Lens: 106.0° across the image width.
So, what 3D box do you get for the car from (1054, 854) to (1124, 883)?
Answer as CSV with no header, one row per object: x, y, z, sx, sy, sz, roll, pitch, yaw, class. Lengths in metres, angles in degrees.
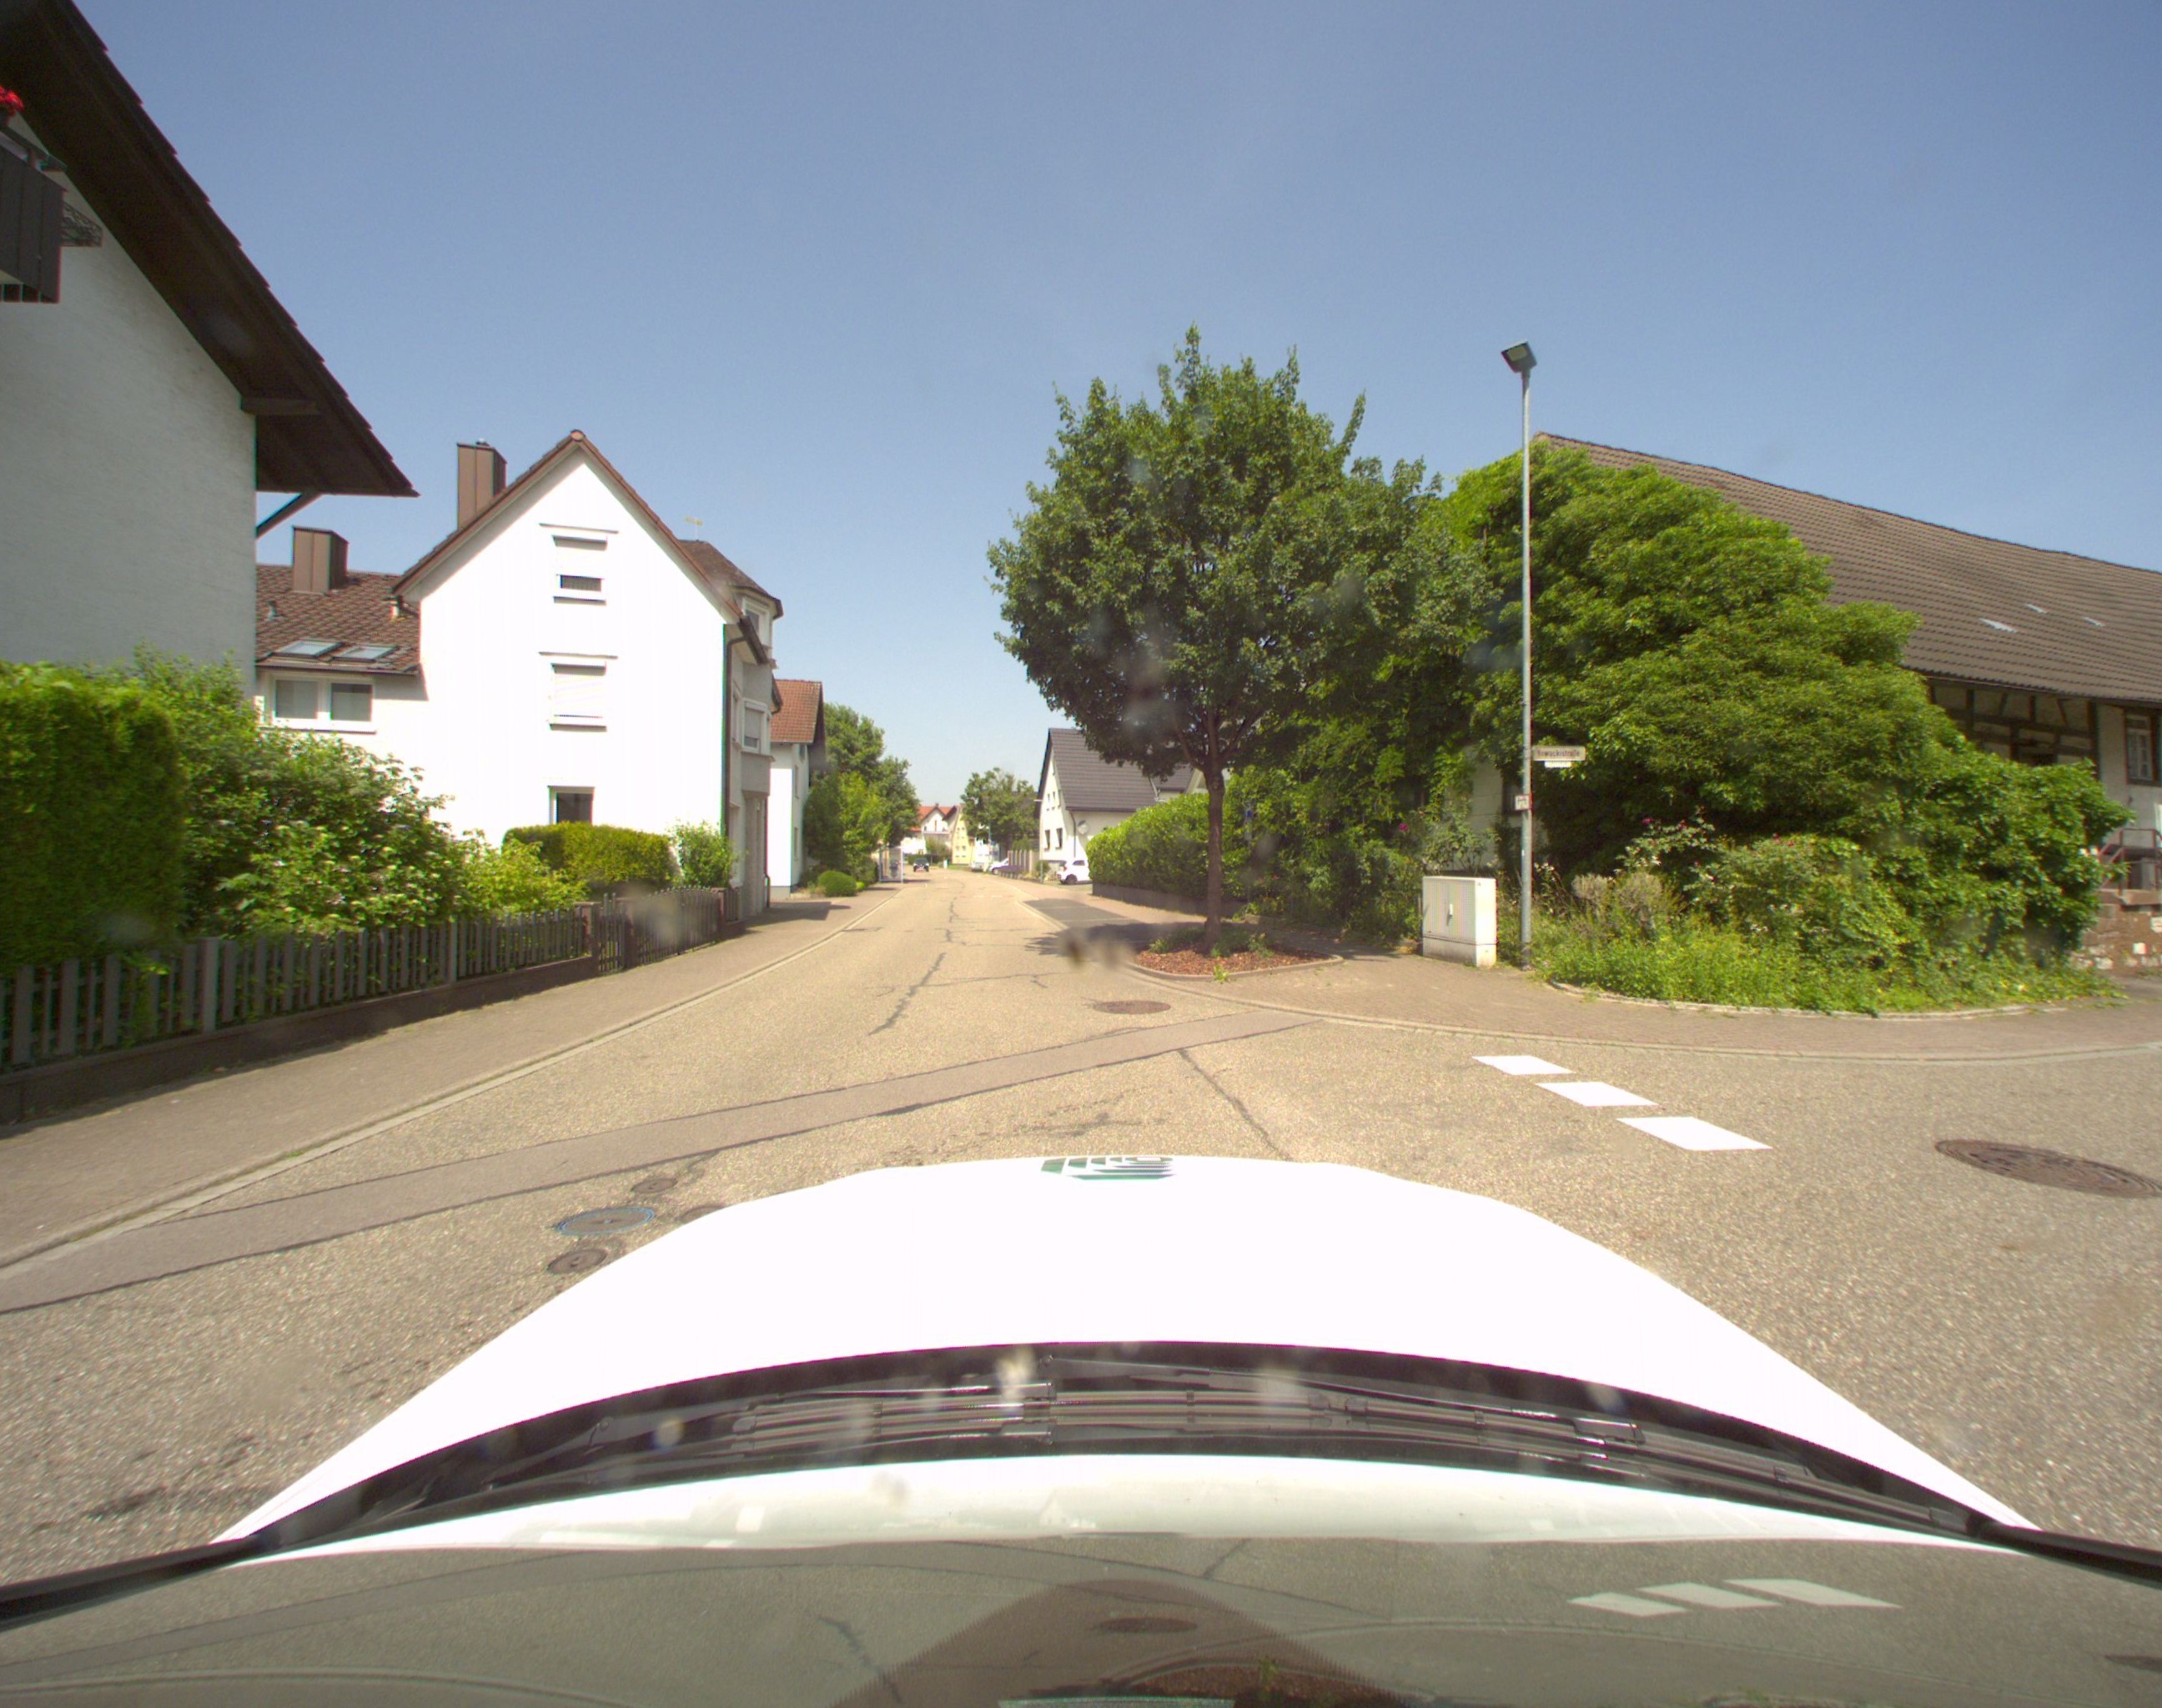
0.435,0.807,46.654,3.666,1.474,1.756,-2,1,-17,car

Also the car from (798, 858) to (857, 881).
-19.316,1.161,62.251,4.166,1.538,1.765,-2,0,-14,car

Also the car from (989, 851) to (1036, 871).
-6.629,0.664,78.270,4.319,1.766,1.885,-2,2,-11,car

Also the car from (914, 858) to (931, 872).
-19.105,1.310,98.393,1.775,1.623,4.094,-2,0,-8,car

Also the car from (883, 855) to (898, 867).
-26.043,0.958,111.426,1.631,1.486,3.976,-1,0,-18,car
